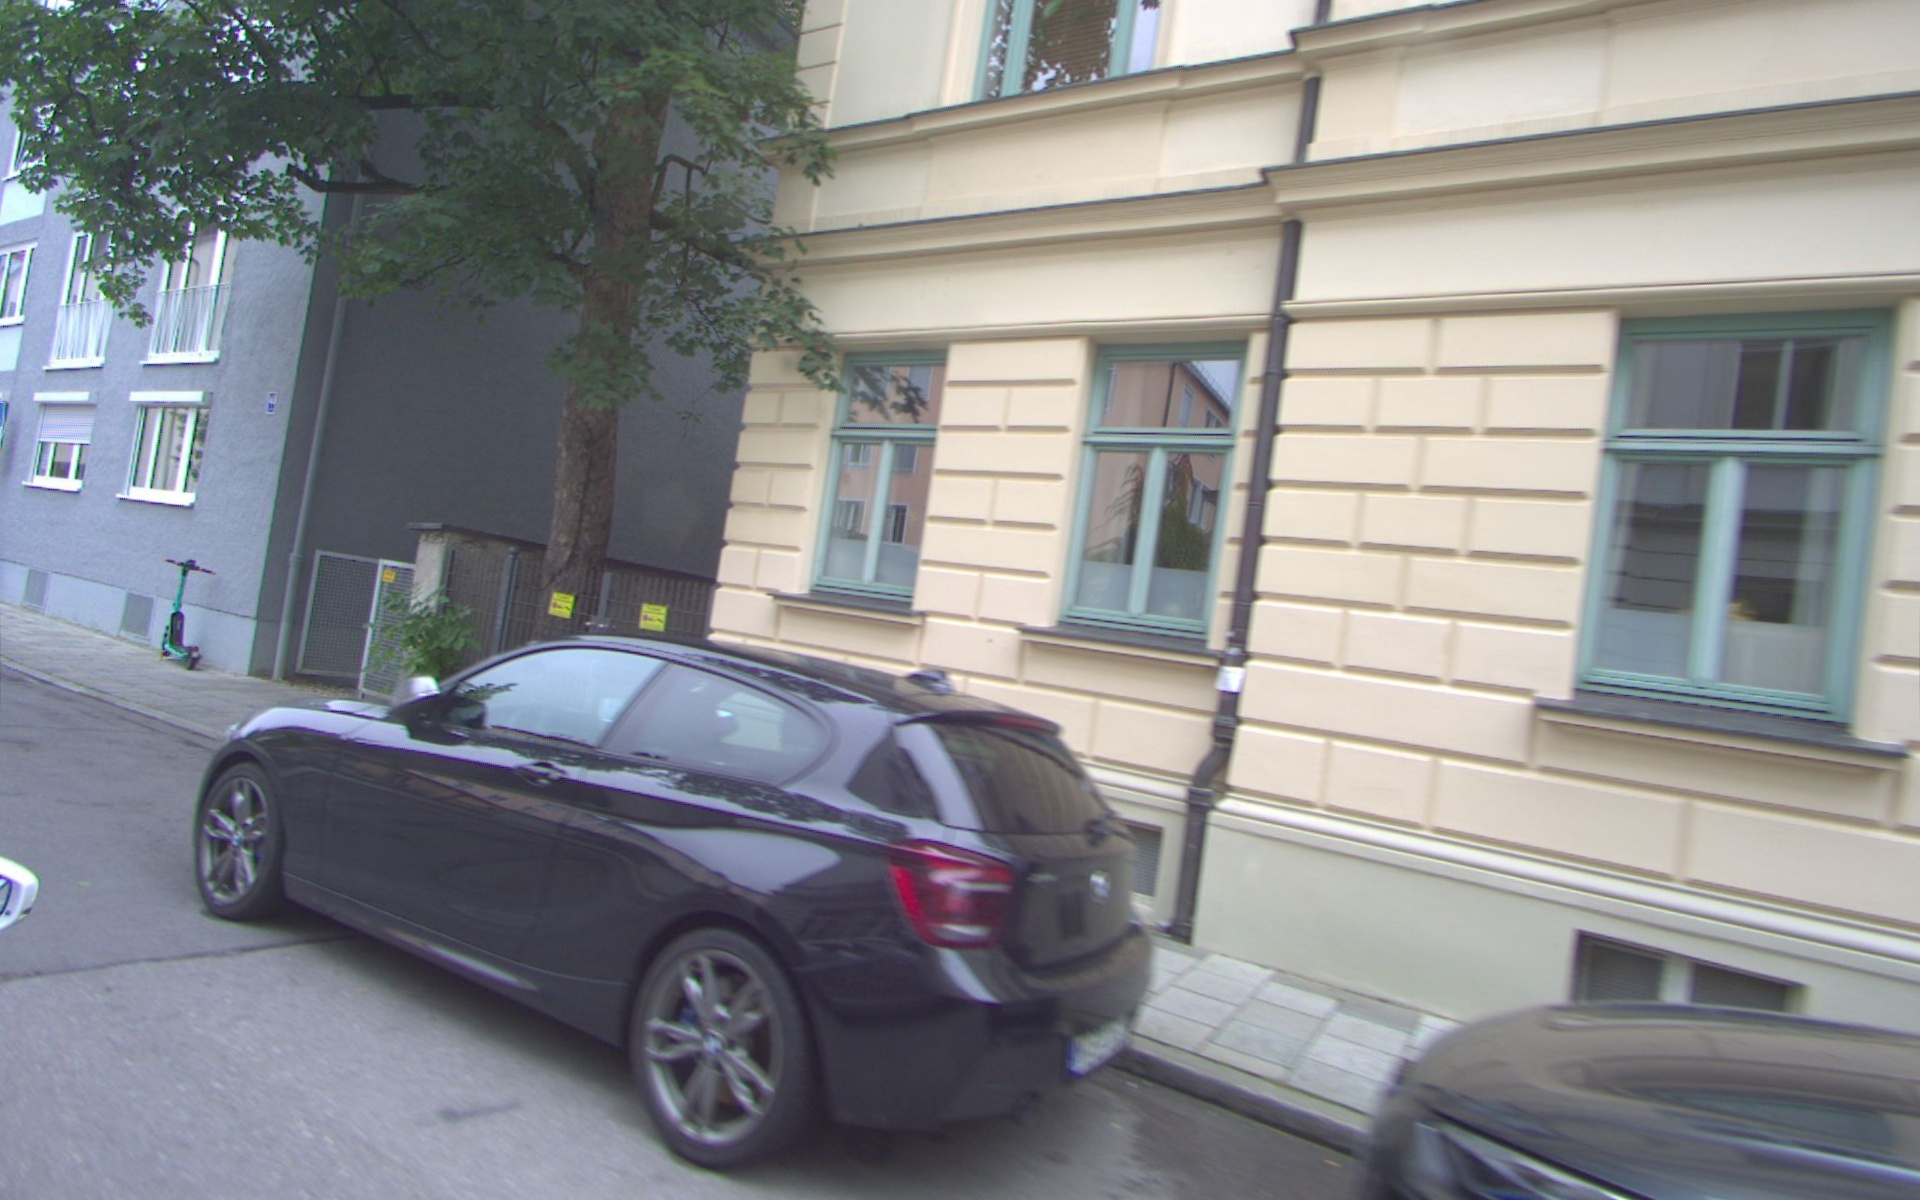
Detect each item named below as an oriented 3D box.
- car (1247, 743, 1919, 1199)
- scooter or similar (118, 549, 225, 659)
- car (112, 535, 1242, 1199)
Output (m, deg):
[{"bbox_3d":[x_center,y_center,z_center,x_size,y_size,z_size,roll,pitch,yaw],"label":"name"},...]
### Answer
[{"bbox_3d":[2.939,1.274,1.445,4.517,1.328,1.998,7,-2,32],"label":"car"},{"bbox_3d":[-9.703,0.035,12.365,1.353,1.188,0.506,6,-1,33],"label":"scooter or similar"},{"bbox_3d":[-1.340,0.749,4.230,4.434,1.388,1.862,7,-5,30],"label":"car"}]
